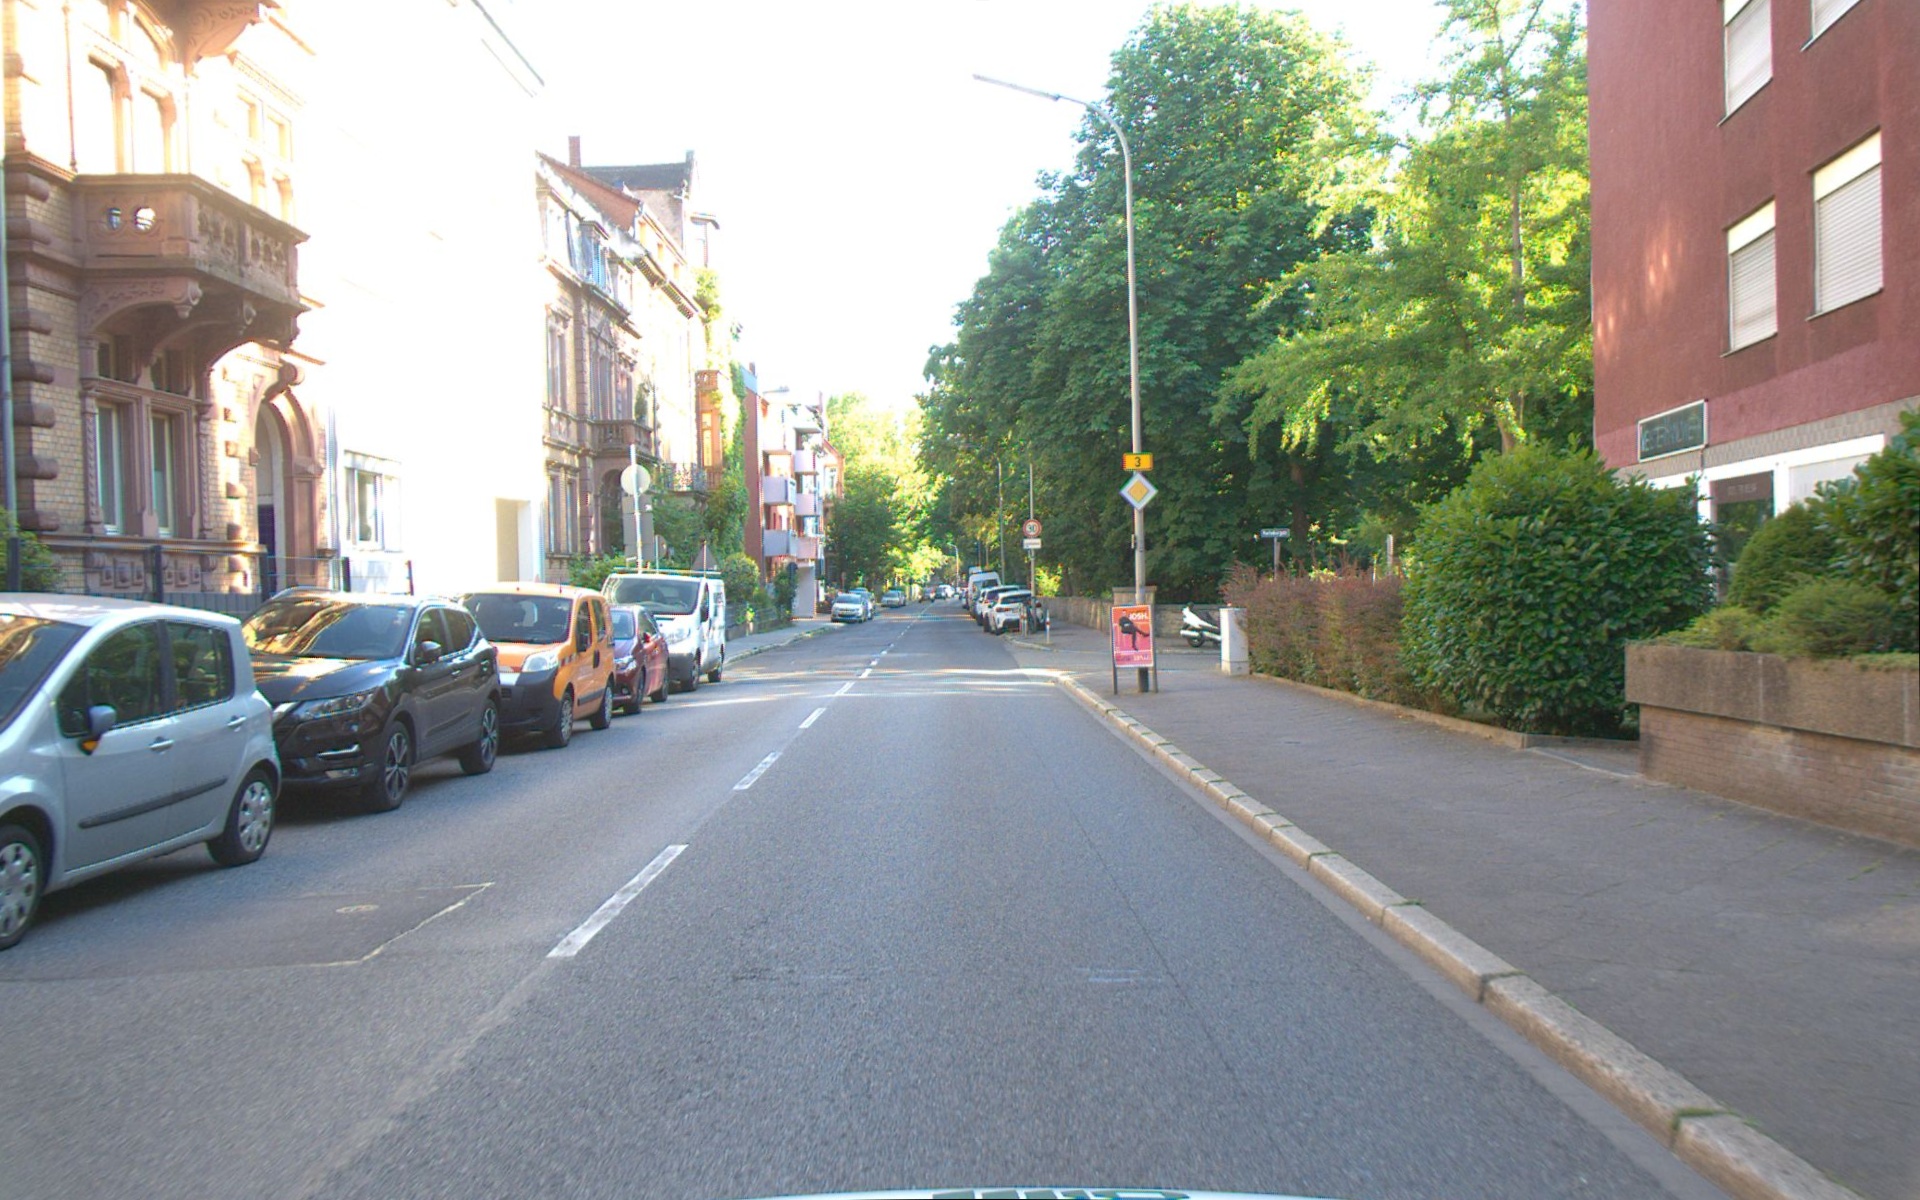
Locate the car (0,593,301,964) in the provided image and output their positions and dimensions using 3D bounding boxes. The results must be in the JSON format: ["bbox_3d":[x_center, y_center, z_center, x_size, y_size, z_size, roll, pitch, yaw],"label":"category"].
[{"bbox_3d":[-5.055,0.786,8.720,1.667,1.611,3.635,0,1,1],"label":"car"}]

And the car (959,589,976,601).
[{"bbox_3d":[1.016,-0.698,220.543,1.954,1.517,4.467,-2,1,-4],"label":"car"}]

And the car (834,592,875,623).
[{"bbox_3d":[-5.768,0.403,90.986,1.953,1.517,4.470,-2,1,-1],"label":"car"}]

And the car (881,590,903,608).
[{"bbox_3d":[-6.444,-0.082,157.611,1.953,1.517,4.470,-2,1,-1],"label":"car"}]

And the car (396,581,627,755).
[{"bbox_3d":[-4.948,0.670,18.747,1.668,1.769,3.856,0,1,-2],"label":"car"}]

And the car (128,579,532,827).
[{"bbox_3d":[-5.005,0.702,13.848,1.667,1.737,4.440,0,1,0],"label":"car"}]

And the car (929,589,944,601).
[{"bbox_3d":[-3.149,-0.675,224.524,1.953,1.517,4.470,-2,1,-1],"label":"car"}]

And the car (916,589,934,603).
[{"bbox_3d":[-4.120,-0.491,194.724,1.953,1.517,4.470,-2,1,-1],"label":"car"}]

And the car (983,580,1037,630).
[{"bbox_3d":[1.917,0.160,64.312,1.952,1.767,4.001,-2,1,1],"label":"car"}]

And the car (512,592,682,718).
[{"bbox_3d":[-5.162,0.715,24.011,1.668,1.648,4.116,0,1,-2],"label":"car"}]

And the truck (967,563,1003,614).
[{"bbox_3d":[1.498,-0.749,99.914,1.953,2.947,4.470,-2,1,-1],"label":"truck"}]

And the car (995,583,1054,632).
[{"bbox_3d":[2.260,0.233,58.683,1.952,1.544,4.001,-2,1,1],"label":"car"}]

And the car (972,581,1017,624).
[{"bbox_3d":[1.550,0.101,75.096,1.952,1.767,4.001,-2,1,1],"label":"car"}]

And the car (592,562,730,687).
[{"bbox_3d":[-5.255,0.377,29.625,1.756,2.045,4.696,0,1,-2],"label":"car"}]

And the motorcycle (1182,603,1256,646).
[{"bbox_3d":[6.958,0.648,44.482,1.866,1.131,0.790,0,1,2],"label":"motorcycle"}]
